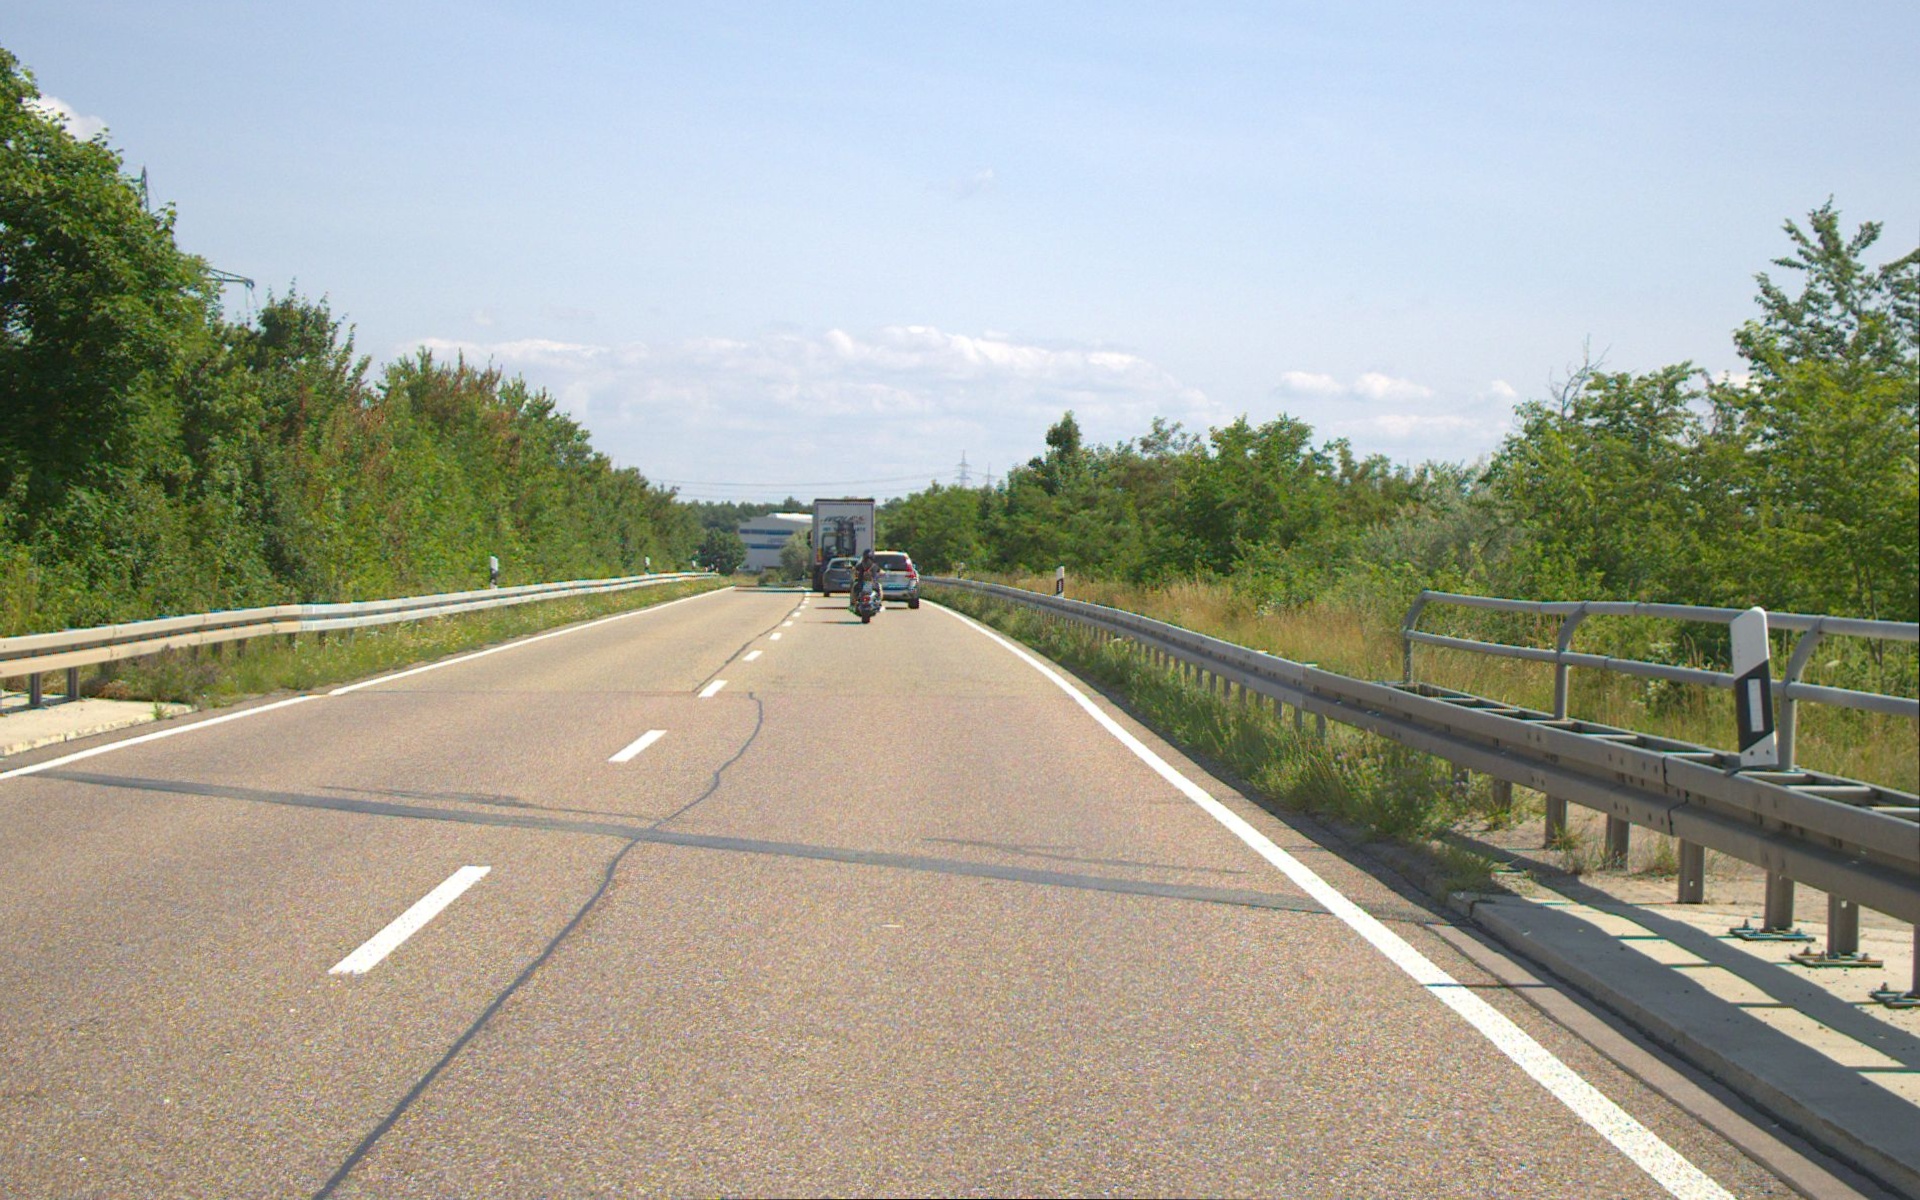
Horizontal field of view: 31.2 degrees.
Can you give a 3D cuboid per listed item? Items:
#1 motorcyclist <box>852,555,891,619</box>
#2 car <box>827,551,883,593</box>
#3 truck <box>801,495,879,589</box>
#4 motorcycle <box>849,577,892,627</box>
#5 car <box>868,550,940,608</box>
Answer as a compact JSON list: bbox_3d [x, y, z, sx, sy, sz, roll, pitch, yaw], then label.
[{"bbox_3d":[-1.870,-0.288,72.584,0.780,1.321,0.813,1,2,1],"label":"motorcyclist"},{"bbox_3d":[-3.795,-1.045,124.925,1.866,1.415,4.000,1,2,1],"label":"car"},{"bbox_3d":[-5.372,-2.570,151.915,3.241,3.965,9.445,1,1,-3],"label":"truck"},{"bbox_3d":[-1.885,0.037,72.572,0.780,0.972,2.361,1,2,1],"label":"motorcycle"},{"bbox_3d":[-1.539,-0.583,93.309,1.825,1.446,4.001,1,2,-3],"label":"car"}]
